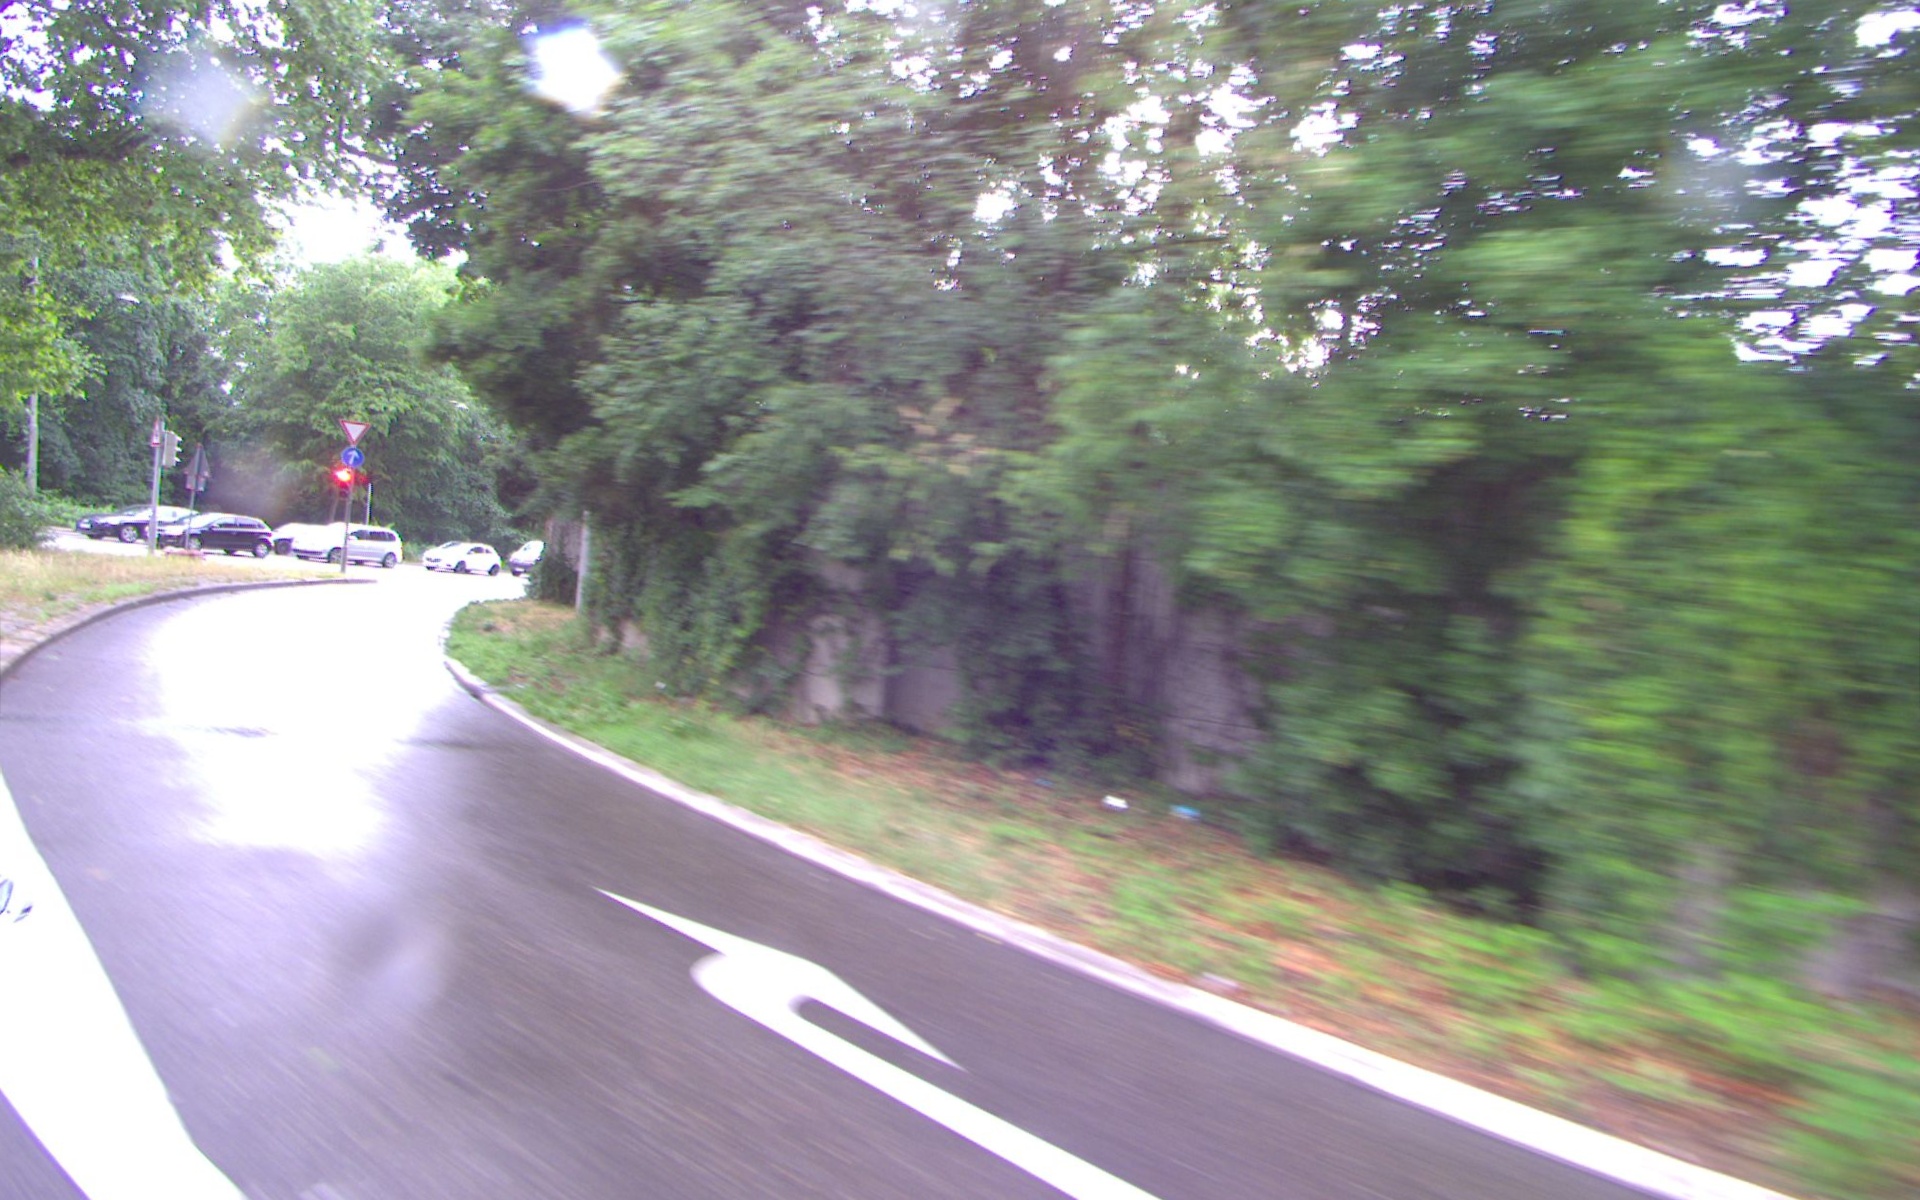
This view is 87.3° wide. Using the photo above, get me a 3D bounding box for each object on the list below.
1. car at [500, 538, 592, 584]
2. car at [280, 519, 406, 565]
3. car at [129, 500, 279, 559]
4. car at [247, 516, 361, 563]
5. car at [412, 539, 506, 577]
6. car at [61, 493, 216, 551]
[{"bbox_3d":[-21.903,-2.037,53.470,1.872,1.946,4.862,7,0,13],"label":"car"},{"bbox_3d":[-25.077,-2.328,41.070,1.741,1.505,4.271,6,1,16],"label":"car"},{"bbox_3d":[-26.340,-2.413,35.185,1.641,1.503,3.867,6,-1,18],"label":"car"},{"bbox_3d":[-27.795,-2.530,42.775,1.712,1.504,3.837,7,0,13],"label":"car"},{"bbox_3d":[-23.589,-1.947,47.536,1.740,1.505,3.998,6,1,13],"label":"car"},{"bbox_3d":[-29.832,-2.787,36.714,1.843,1.504,4.002,7,-1,13],"label":"car"}]
